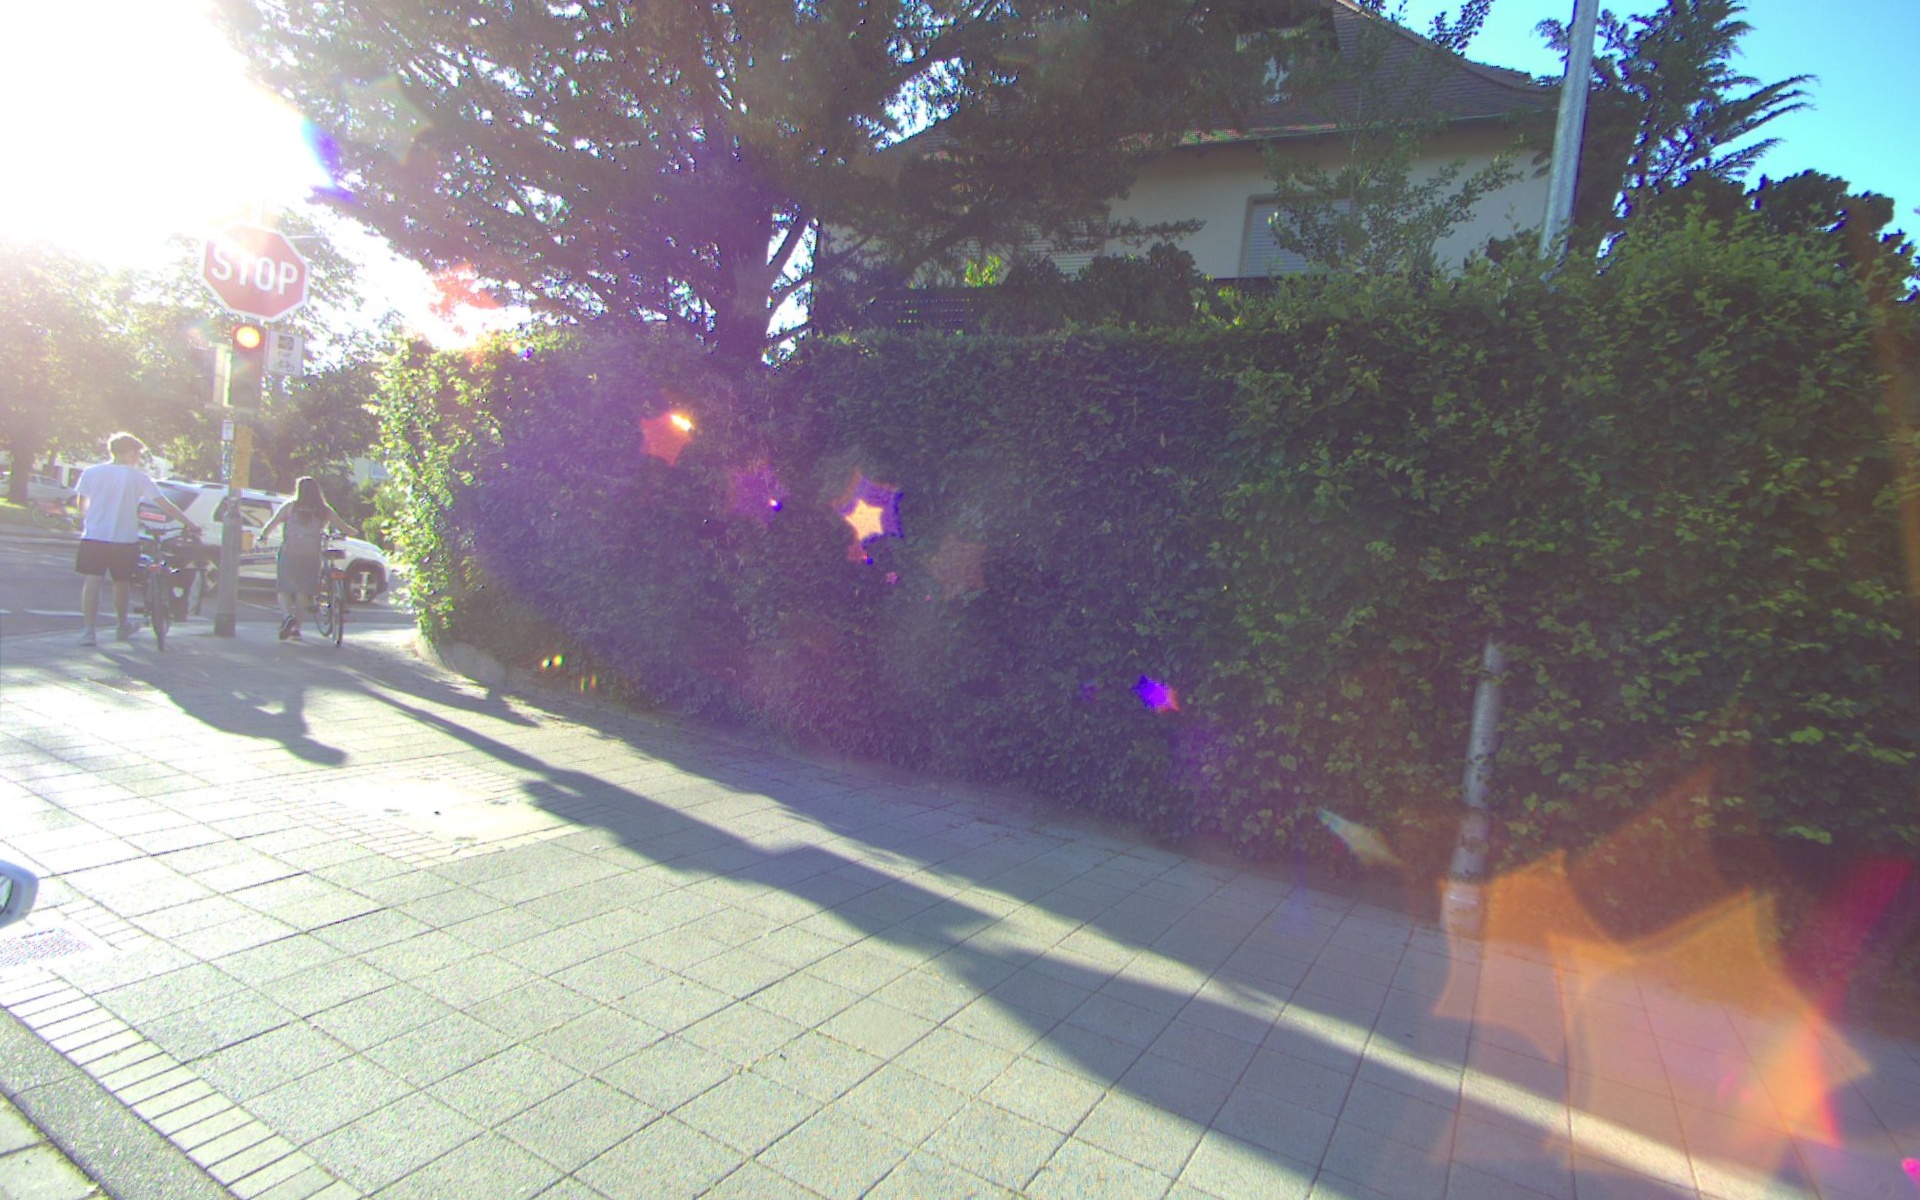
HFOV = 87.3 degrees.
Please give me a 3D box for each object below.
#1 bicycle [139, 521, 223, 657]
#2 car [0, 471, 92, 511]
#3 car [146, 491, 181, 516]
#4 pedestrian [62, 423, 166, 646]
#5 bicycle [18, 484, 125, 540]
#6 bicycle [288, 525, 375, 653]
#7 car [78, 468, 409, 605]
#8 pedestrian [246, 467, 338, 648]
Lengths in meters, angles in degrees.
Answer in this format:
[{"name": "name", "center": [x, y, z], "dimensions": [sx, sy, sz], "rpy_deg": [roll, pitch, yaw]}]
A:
[{"name": "bicycle", "center": [-7.238, -0.135, 9.318], "dimensions": [0.484, 1.112, 1.770], "rpy_deg": [3, 3, -41]}, {"name": "car", "center": [-46.402, -5.503, 50.554], "dimensions": [1.569, 1.445, 3.854], "rpy_deg": [7, 0, 26]}, {"name": "car", "center": [-55.266, -6.673, 69.836], "dimensions": [1.654, 1.435, 3.507], "rpy_deg": [7, 0, -36]}, {"name": "pedestrian", "center": [-7.658, -0.570, 9.115], "dimensions": [0.666, 1.891, 0.871], "rpy_deg": [1, 3, -41]}, {"name": "bicycle", "center": [-23.215, -2.287, 26.324], "dimensions": [0.609, 1.146, 1.956], "rpy_deg": [8, 1, 32]}, {"name": "bicycle", "center": [-6.486, -0.139, 10.353], "dimensions": [0.484, 1.158, 1.579], "rpy_deg": [3, 4, -40]}, {"name": "car", "center": [-10.903, -0.878, 15.657], "dimensions": [1.582, 1.571, 3.875], "rpy_deg": [9, 1, 20]}, {"name": "pedestrian", "center": [-6.727, -0.425, 10.125], "dimensions": [0.665, 1.733, 0.615], "rpy_deg": [2, 6, -40]}]
